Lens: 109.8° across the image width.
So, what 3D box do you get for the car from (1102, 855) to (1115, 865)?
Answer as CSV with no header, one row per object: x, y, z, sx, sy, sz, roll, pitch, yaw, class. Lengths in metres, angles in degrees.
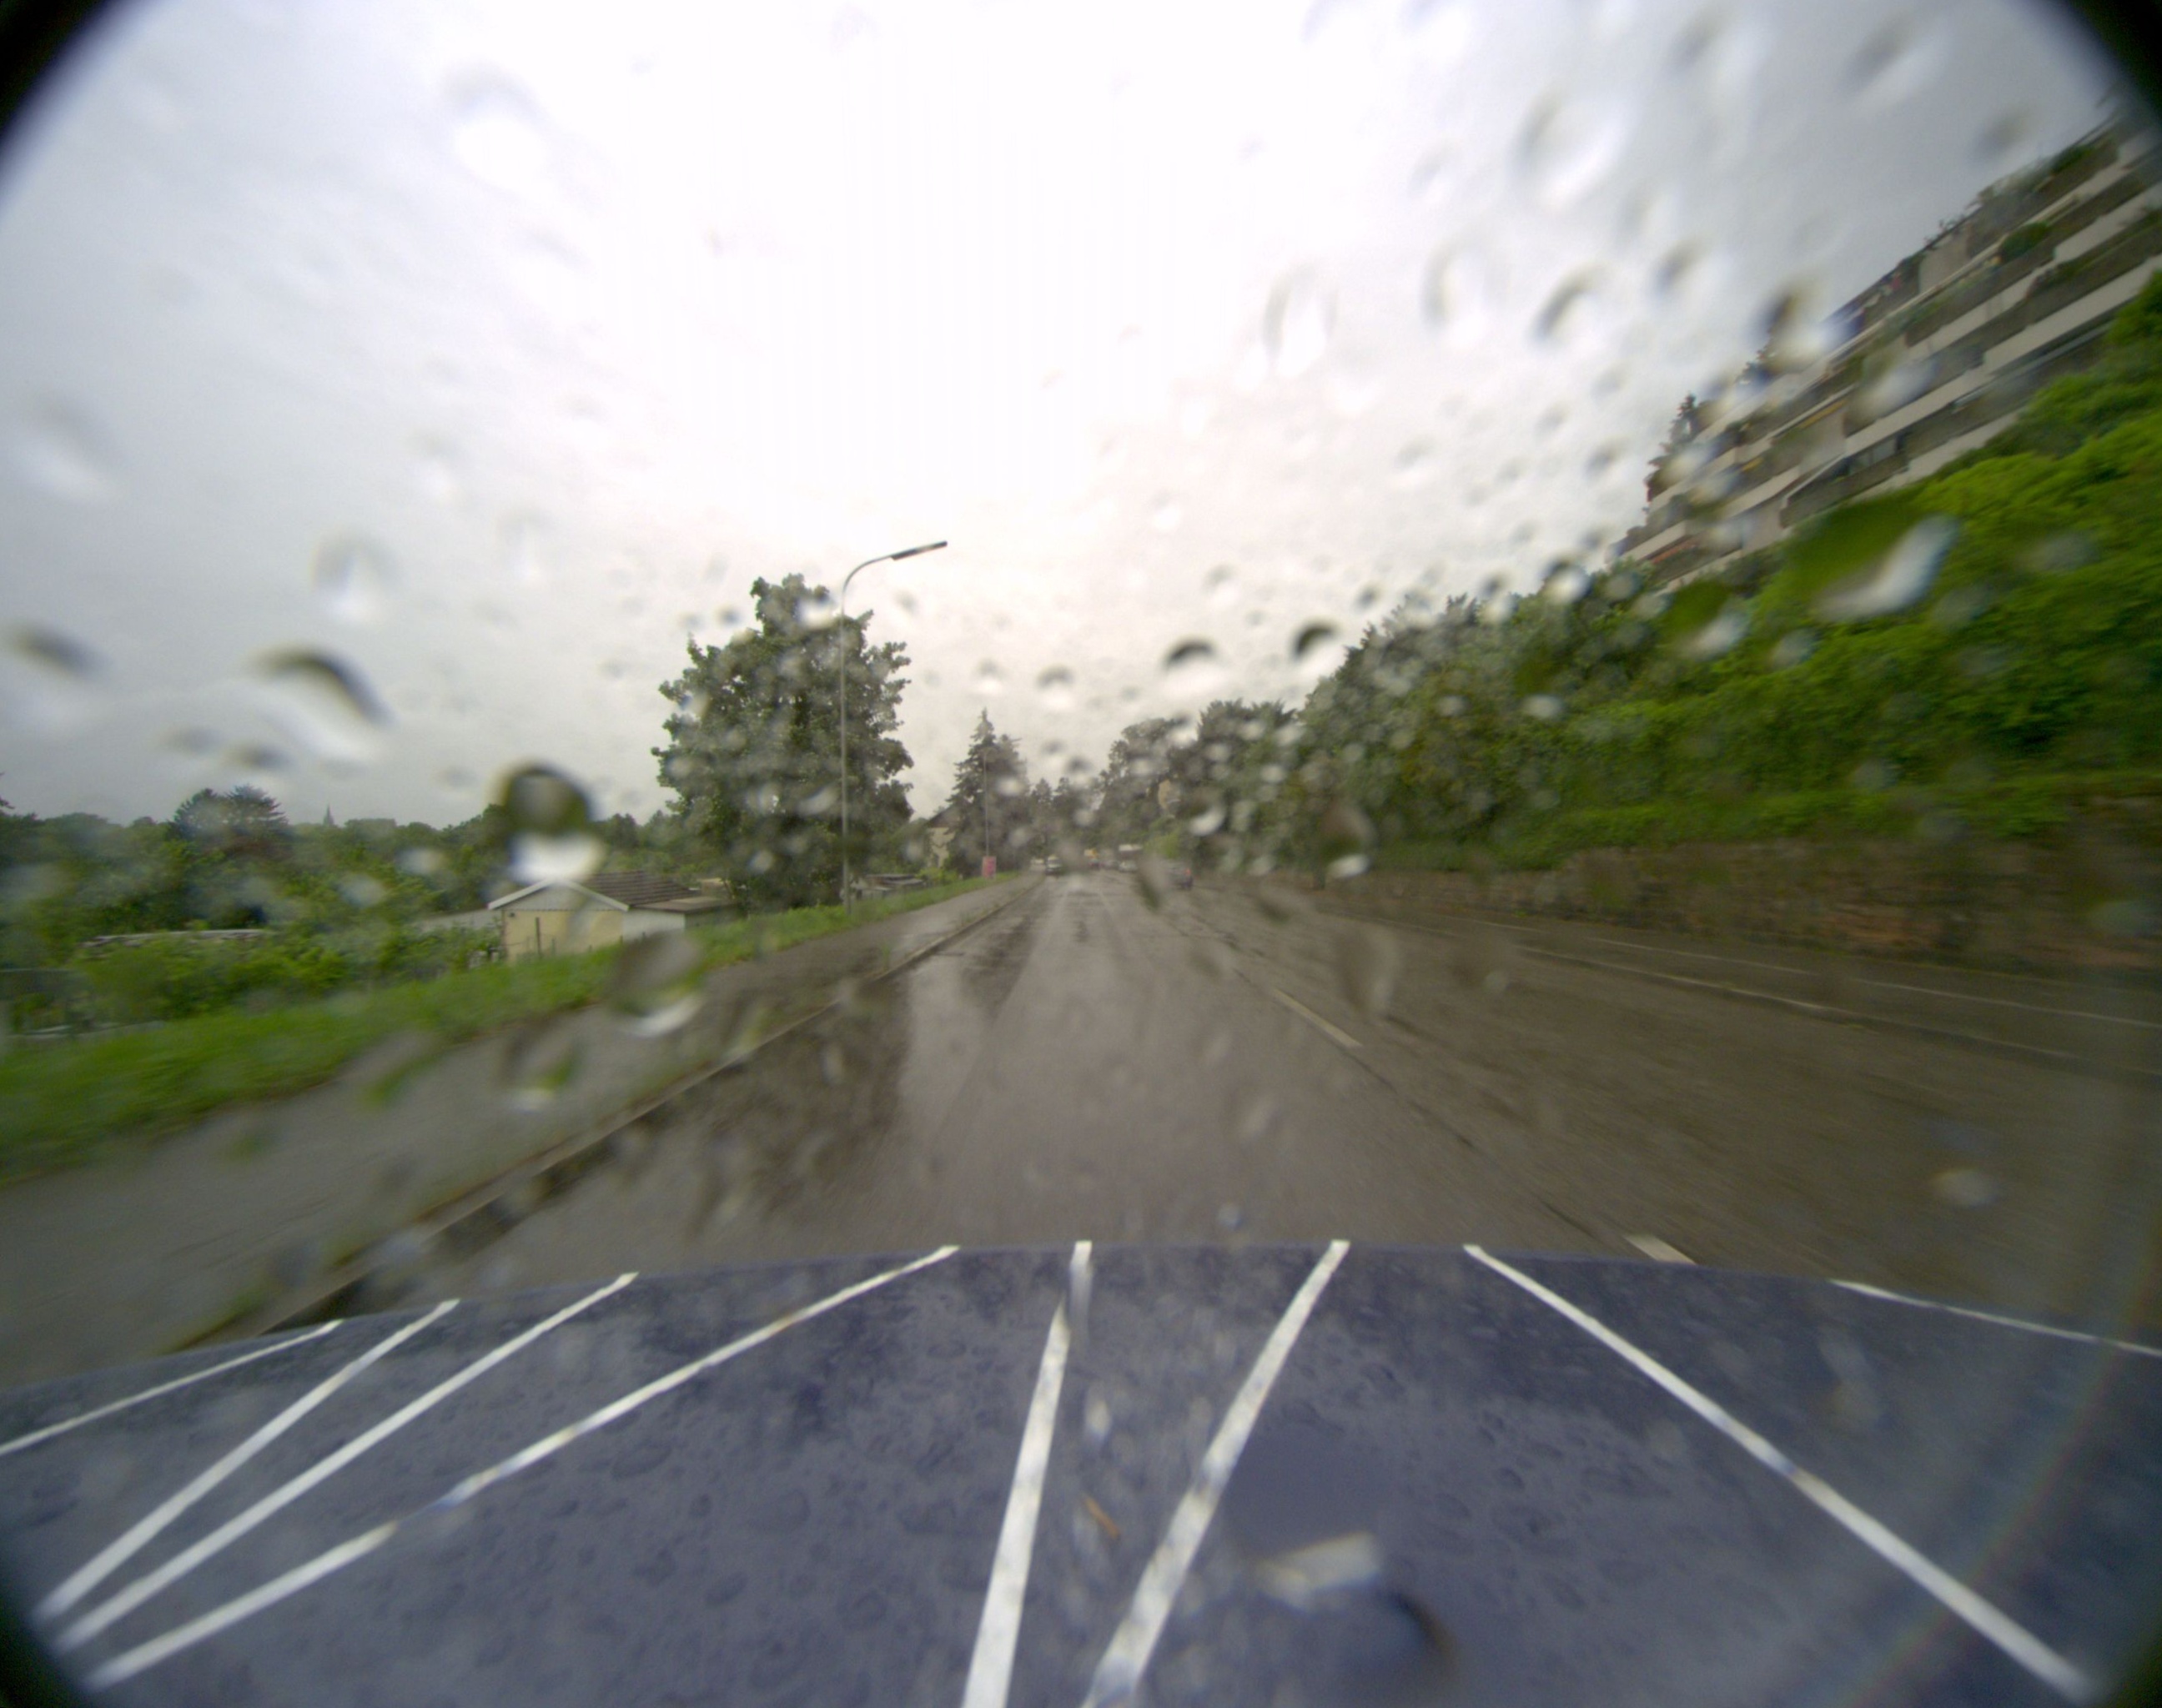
4.508,0.964,124.201,1.853,1.583,3.705,-1,0,-1,car

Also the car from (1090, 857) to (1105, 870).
2.131,1.231,99.259,1.853,1.583,3.705,-1,0,-1,car

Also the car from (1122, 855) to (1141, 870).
5.727,0.961,87.121,1.853,1.583,3.705,-1,0,-1,car

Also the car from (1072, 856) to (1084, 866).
-0.497,1.229,126.398,1.853,1.583,5.145,-1,0,-1,car

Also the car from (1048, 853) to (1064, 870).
-3.248,1.021,99.770,1.998,2.168,4.000,-1,-1,0,car

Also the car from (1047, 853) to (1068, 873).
-2.431,0.928,78.255,1.998,2.001,4.000,-1,-1,0,car

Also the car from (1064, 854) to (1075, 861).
-2.797,0.854,178.040,1.855,1.583,3.701,-1,0,-11,car

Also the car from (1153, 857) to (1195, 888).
4.695,0.918,38.740,1.597,1.433,3.704,1,0,-1,car

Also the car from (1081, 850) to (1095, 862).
1.292,0.437,144.314,1.855,2.137,3.701,-1,0,-11,car

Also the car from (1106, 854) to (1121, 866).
4.527,0.857,106.414,1.853,1.583,3.705,-1,0,-1,car
